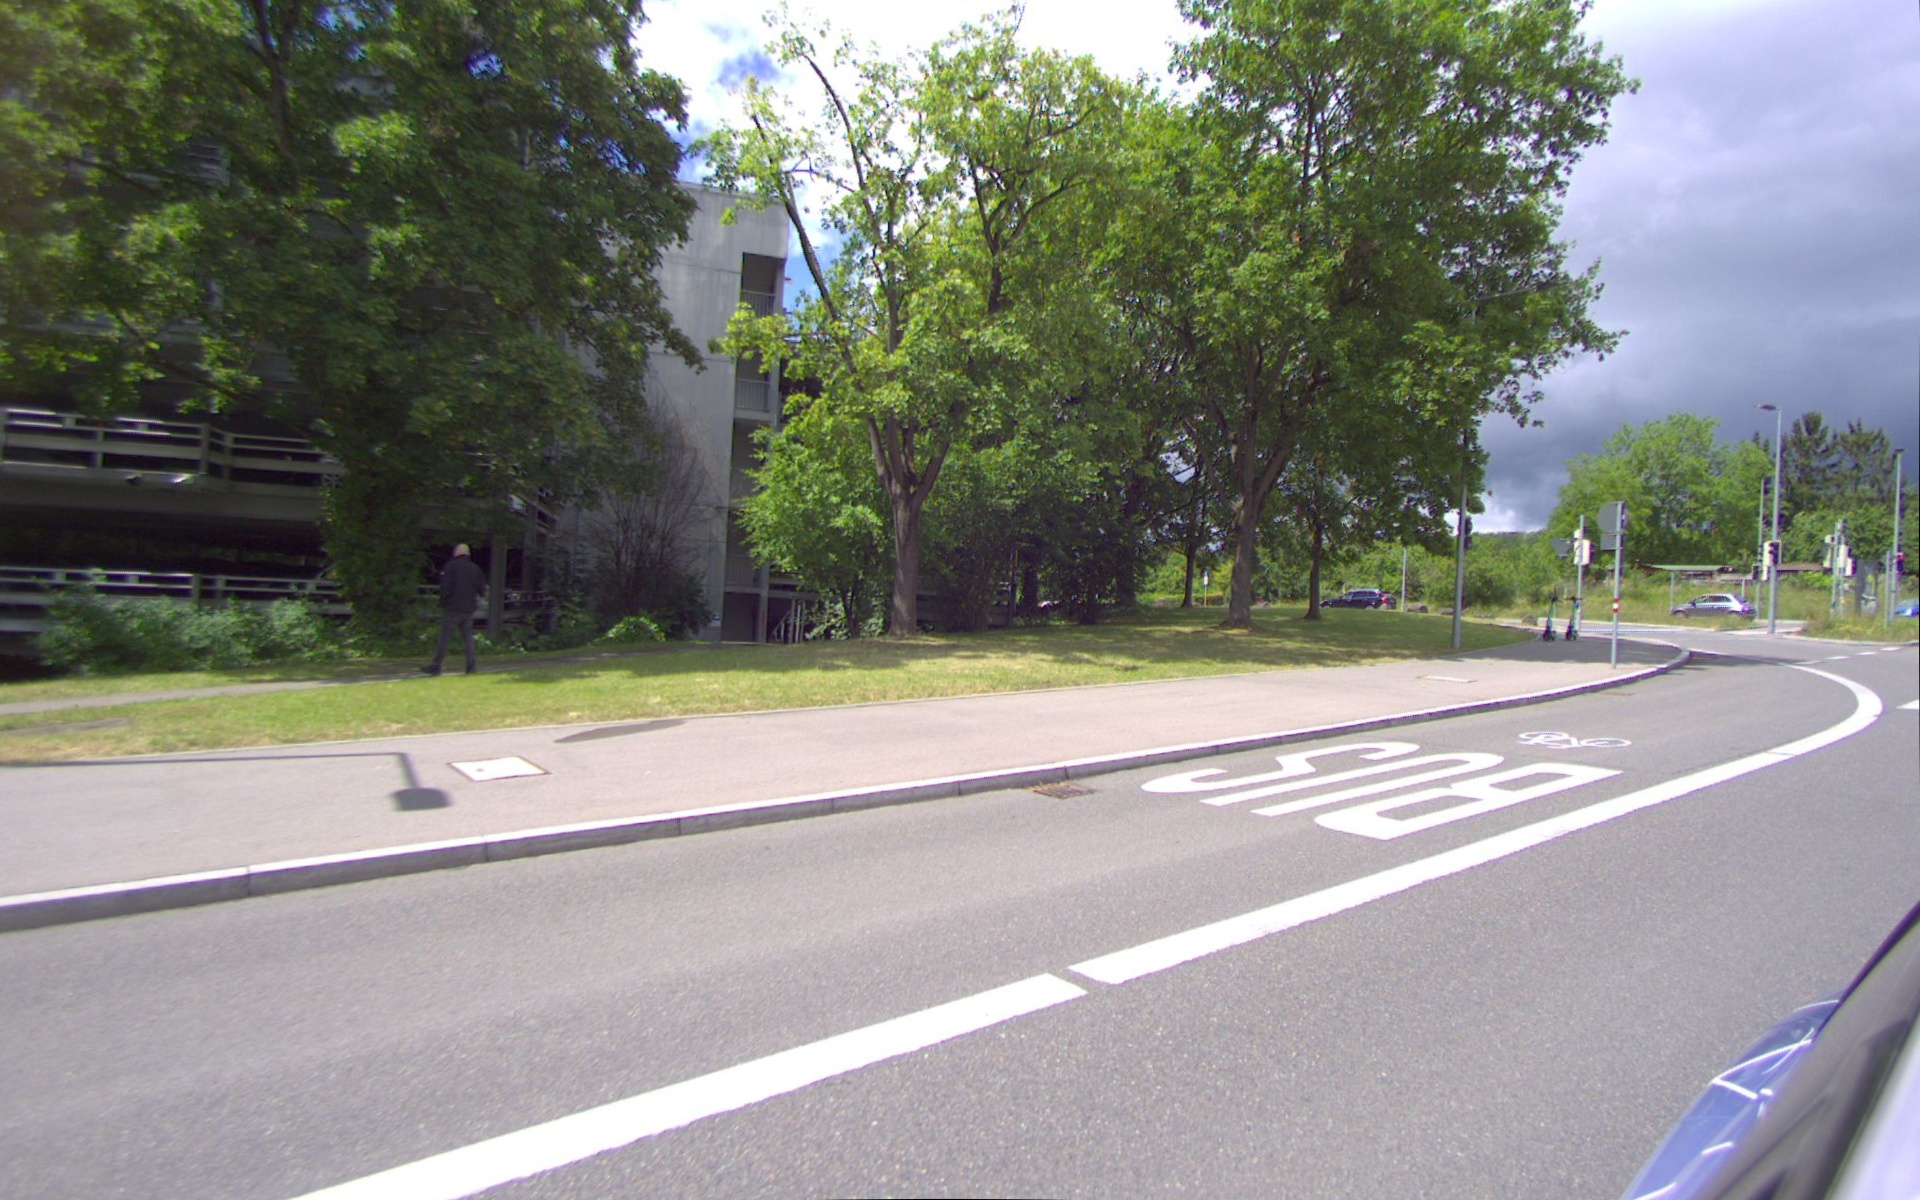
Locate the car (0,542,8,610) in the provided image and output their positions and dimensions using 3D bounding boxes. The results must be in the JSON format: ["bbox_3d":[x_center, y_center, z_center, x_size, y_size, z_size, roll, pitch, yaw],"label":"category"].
[{"bbox_3d":[-22.772,-0.622,21.151,3.718,1.491,1.780,3,-1,-16],"label":"car"}]

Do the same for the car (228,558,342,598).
[{"bbox_3d":[-30.069,-0.967,45.218,3.889,1.659,1.761,0,0,-16],"label":"car"}]

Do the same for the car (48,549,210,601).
[{"bbox_3d":[-26.257,-0.780,32.093,3.547,1.560,1.761,0,0,-16],"label":"car"}]

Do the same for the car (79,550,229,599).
[{"bbox_3d":[-27.027,-0.825,34.064,3.547,1.560,1.761,0,0,-16],"label":"car"}]

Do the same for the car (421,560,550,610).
[{"bbox_3d":[-15.255,-0.481,32.706,3.547,1.543,1.637,0,0,-16],"label":"car"}]

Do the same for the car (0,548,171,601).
[{"bbox_3d":[-25.815,-0.735,29.894,3.547,1.461,1.761,0,0,-16],"label":"car"}]

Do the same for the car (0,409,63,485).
[{"bbox_3d":[-23.167,-3.543,23.189,3.547,1.543,1.637,0,0,-16],"label":"car"}]

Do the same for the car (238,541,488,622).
[{"bbox_3d":[-12.564,-0.366,21.595,4.299,1.615,1.660,0,0,-16],"label":"car"}]

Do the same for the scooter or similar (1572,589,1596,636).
[{"bbox_3d":[17.671,0.334,28.667,0.530,1.279,1.177,3,2,31],"label":"scooter or similar"}]

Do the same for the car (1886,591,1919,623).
[{"bbox_3d":[52.282,0.348,53.907,4.358,1.657,1.913,0,1,-6],"label":"car"}]

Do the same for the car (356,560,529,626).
[{"bbox_3d":[-13.463,-0.159,26.559,3.718,1.491,1.780,3,-1,-16],"label":"car"}]

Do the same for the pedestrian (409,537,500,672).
[{"bbox_3d":[-6.778,0.067,13.601,0.585,1.740,0.766,3,-2,27],"label":"pedestrian"}]

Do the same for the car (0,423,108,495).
[{"bbox_3d":[-23.871,-3.539,25.310,3.547,1.543,1.637,0,0,-16],"label":"car"}]

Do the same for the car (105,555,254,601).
[{"bbox_3d":[-27.779,-0.765,36.148,3.806,1.560,1.761,0,0,-16],"label":"car"}]

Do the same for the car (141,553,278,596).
[{"bbox_3d":[-28.429,-0.955,38.449,3.806,1.560,1.761,0,0,-16],"label":"car"}]

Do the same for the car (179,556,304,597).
[{"bbox_3d":[-29.344,-0.943,41.450,3.806,1.560,1.761,0,0,-16],"label":"car"}]

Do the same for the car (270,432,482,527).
[{"bbox_3d":[-13.541,-2.752,23.734,3.915,1.817,1.940,1,-1,-16],"label":"car"}]

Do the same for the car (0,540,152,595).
[{"bbox_3d":[-24.711,-0.878,27.816,3.547,1.449,1.637,0,0,-16],"label":"car"}]

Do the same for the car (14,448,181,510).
[{"bbox_3d":[-25.350,-3.532,29.872,3.428,1.543,1.494,0,0,-16],"label":"car"}]

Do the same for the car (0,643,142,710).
[{"bbox_3d":[-24.933,2.054,27.710,3.547,1.659,1.761,0,0,-16],"label":"car"}]

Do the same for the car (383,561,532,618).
[{"bbox_3d":[-14.125,-0.293,28.637,3.547,1.543,1.637,0,0,-16],"label":"car"}]

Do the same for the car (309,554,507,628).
[{"bbox_3d":[-12.879,-0.189,23.858,3.718,1.491,1.780,3,-1,-16],"label":"car"}]

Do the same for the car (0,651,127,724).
[{"bbox_3d":[-23.741,2.196,25.738,3.547,1.659,1.761,0,0,-16],"label":"car"}]

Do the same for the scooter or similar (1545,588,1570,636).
[{"bbox_3d":[16.480,0.320,27.909,0.530,1.279,1.177,3,2,31],"label":"scooter or similar"}]

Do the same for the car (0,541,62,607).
[{"bbox_3d":[-23.471,-0.670,23.301,3.718,1.491,1.780,3,-1,-16],"label":"car"}]

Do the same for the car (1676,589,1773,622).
[{"bbox_3d":[37.577,0.278,49.800,1.556,1.479,3.521,5,-2,-38],"label":"car"}]

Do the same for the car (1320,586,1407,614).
[{"bbox_3d":[25.818,-0.030,64.934,1.875,1.711,4.980,0,1,-37],"label":"car"}]
